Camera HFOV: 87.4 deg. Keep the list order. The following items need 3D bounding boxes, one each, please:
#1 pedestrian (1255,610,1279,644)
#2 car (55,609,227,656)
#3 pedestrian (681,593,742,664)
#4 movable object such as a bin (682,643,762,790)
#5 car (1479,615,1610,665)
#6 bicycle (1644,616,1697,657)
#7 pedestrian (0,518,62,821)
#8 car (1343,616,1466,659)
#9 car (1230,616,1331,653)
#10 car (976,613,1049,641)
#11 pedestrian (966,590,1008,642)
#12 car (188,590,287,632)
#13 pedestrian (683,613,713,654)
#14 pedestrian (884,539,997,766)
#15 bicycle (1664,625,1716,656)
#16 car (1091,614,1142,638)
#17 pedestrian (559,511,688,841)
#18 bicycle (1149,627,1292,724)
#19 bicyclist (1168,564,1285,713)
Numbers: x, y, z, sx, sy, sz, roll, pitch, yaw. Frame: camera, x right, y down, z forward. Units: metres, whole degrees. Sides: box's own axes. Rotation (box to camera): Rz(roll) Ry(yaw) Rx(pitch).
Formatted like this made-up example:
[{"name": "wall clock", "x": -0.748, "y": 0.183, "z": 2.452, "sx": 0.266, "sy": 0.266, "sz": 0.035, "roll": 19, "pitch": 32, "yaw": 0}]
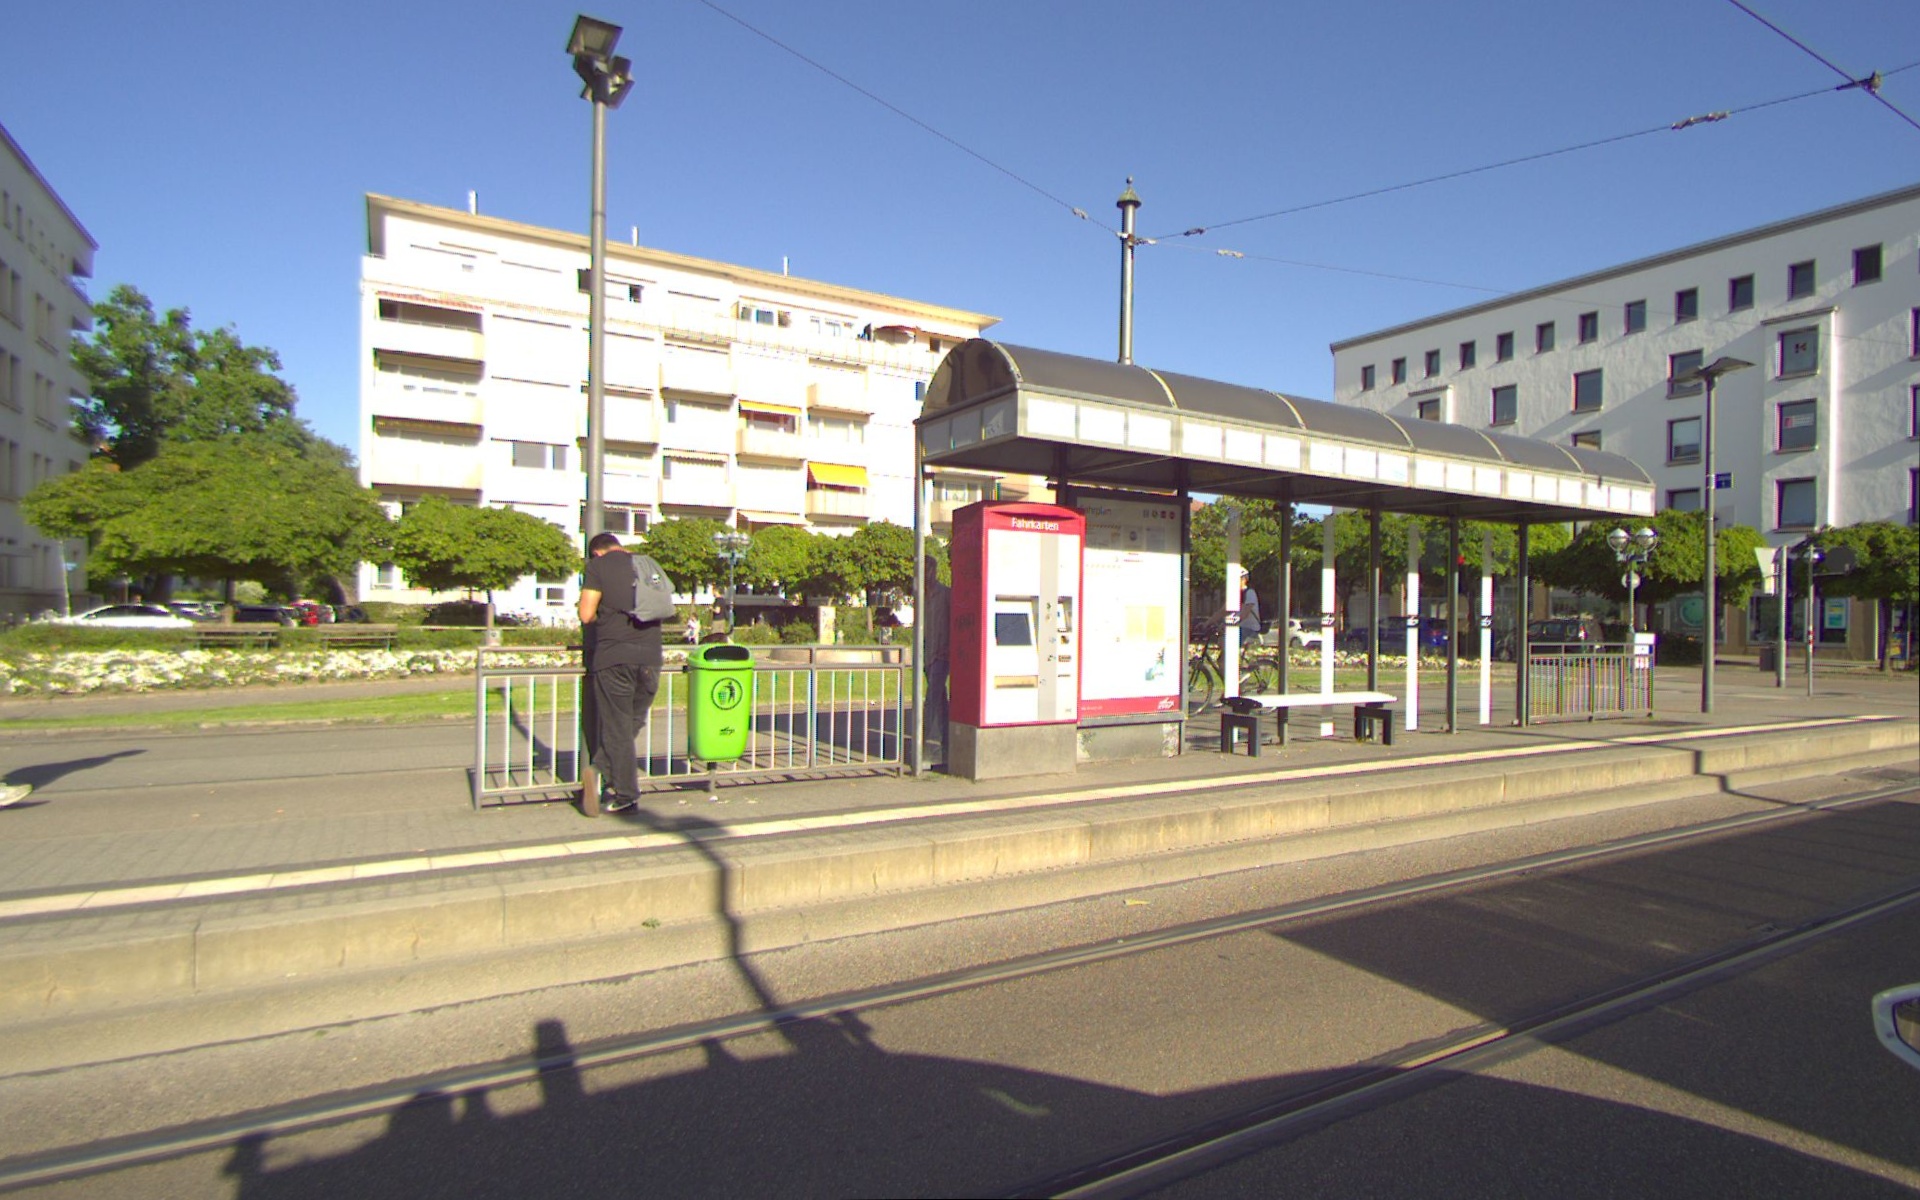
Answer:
[{"name": "pedestrian", "x": 16.776, "y": 1.453, "z": 54.948, "sx": 0.856, "sy": 1.841, "sz": 0.944, "roll": 1, "pitch": 0, "yaw": -19}, {"name": "car", "x": -24.266, "y": 0.953, "z": 29.952, "sx": 3.672, "sy": 1.318, "sz": 1.984, "roll": 1, "pitch": 0, "yaw": -30}, {"name": "pedestrian", "x": -6.619, "y": 0.743, "z": 26.787, "sx": 1.154, "sy": 1.811, "sz": 1.081, "roll": 1, "pitch": 0, "yaw": 24}, {"name": "movable object such as a bin", "x": -1.499, "y": 0.716, "z": 6.321, "sx": 0.411, "sy": 0.871, "sz": 0.335, "roll": 1, "pitch": 0, "yaw": -27}, {"name": "car", "x": 22.368, "y": 1.491, "z": 38.581, "sx": 1.804, "sy": 1.728, "sz": 3.968, "roll": 1, "pitch": -1, "yaw": -30}, {"name": "bicycle", "x": 29.188, "y": 1.489, "z": 41.238, "sx": 2.585, "sy": 1.628, "sz": 0.616, "roll": 1, "pitch": 0, "yaw": -26}, {"name": "pedestrian", "x": -5.890, "y": 0.385, "z": 5.533, "sx": 0.976, "sy": 1.702, "sz": 0.975, "roll": 0, "pitch": -1, "yaw": 7}, {"name": "car", "x": 19.179, "y": 1.601, "z": 43.527, "sx": 1.978, "sy": 1.684, "sz": 4.581, "roll": 1, "pitch": -1, "yaw": -31}, {"name": "car", "x": 15.466, "y": 1.654, "z": 48.704, "sx": 1.835, "sy": 1.628, "sz": 4.581, "roll": 1, "pitch": -1, "yaw": -31}, {"name": "car", "x": 2.640, "y": 1.369, "z": 50.563, "sx": 3.271, "sy": 1.372, "sz": 1.638, "roll": 1, "pitch": 0, "yaw": -29}, {"name": "pedestrian", "x": 1.069, "y": 0.631, "z": 40.195, "sx": 1.219, "sy": 2.040, "sz": 1.214, "roll": 1, "pitch": 0, "yaw": -30}, {"name": "car", "x": -27.241, "y": 0.427, "z": 37.968, "sx": 2.899, "sy": 1.506, "sz": 1.407, "roll": 1, "pitch": 0, "yaw": -30}, {"name": "pedestrian", "x": -8.964, "y": 1.132, "z": 34.367, "sx": 0.672, "sy": 1.378, "sz": 1.042, "roll": 1, "pitch": -1, "yaw": -34}, {"name": "pedestrian", "x": -0.169, "y": 0.435, "z": 8.412, "sx": 0.760, "sy": 1.797, "sz": 0.613, "roll": 1, "pitch": -3, "yaw": -28}, {"name": "bicycle", "x": 29.512, "y": 1.645, "z": 40.594, "sx": 2.586, "sy": 1.206, "sz": 0.615, "roll": 1, "pitch": 0, "yaw": -27}, {"name": "car", "x": 10.633, "y": 1.735, "z": 67.908, "sx": 1.887, "sy": 1.514, "sz": 4.343, "roll": 2, "pitch": 0, "yaw": 31}, {"name": "pedestrian", "x": -1.912, "y": 0.412, "z": 5.685, "sx": 0.599, "sy": 1.740, "sz": 0.546, "roll": 1, "pitch": -2, "yaw": -28}, {"name": "bicycle", "x": 3.364, "y": 0.930, "z": 12.888, "sx": 2.018, "sy": 1.141, "sz": 0.706, "roll": 1, "pitch": 0, "yaw": -39}, {"name": "bicyclist", "x": 3.431, "y": 0.480, "z": 12.961, "sx": 1.086, "sy": 1.817, "sz": 0.996, "roll": 1, "pitch": 0, "yaw": -38}]
